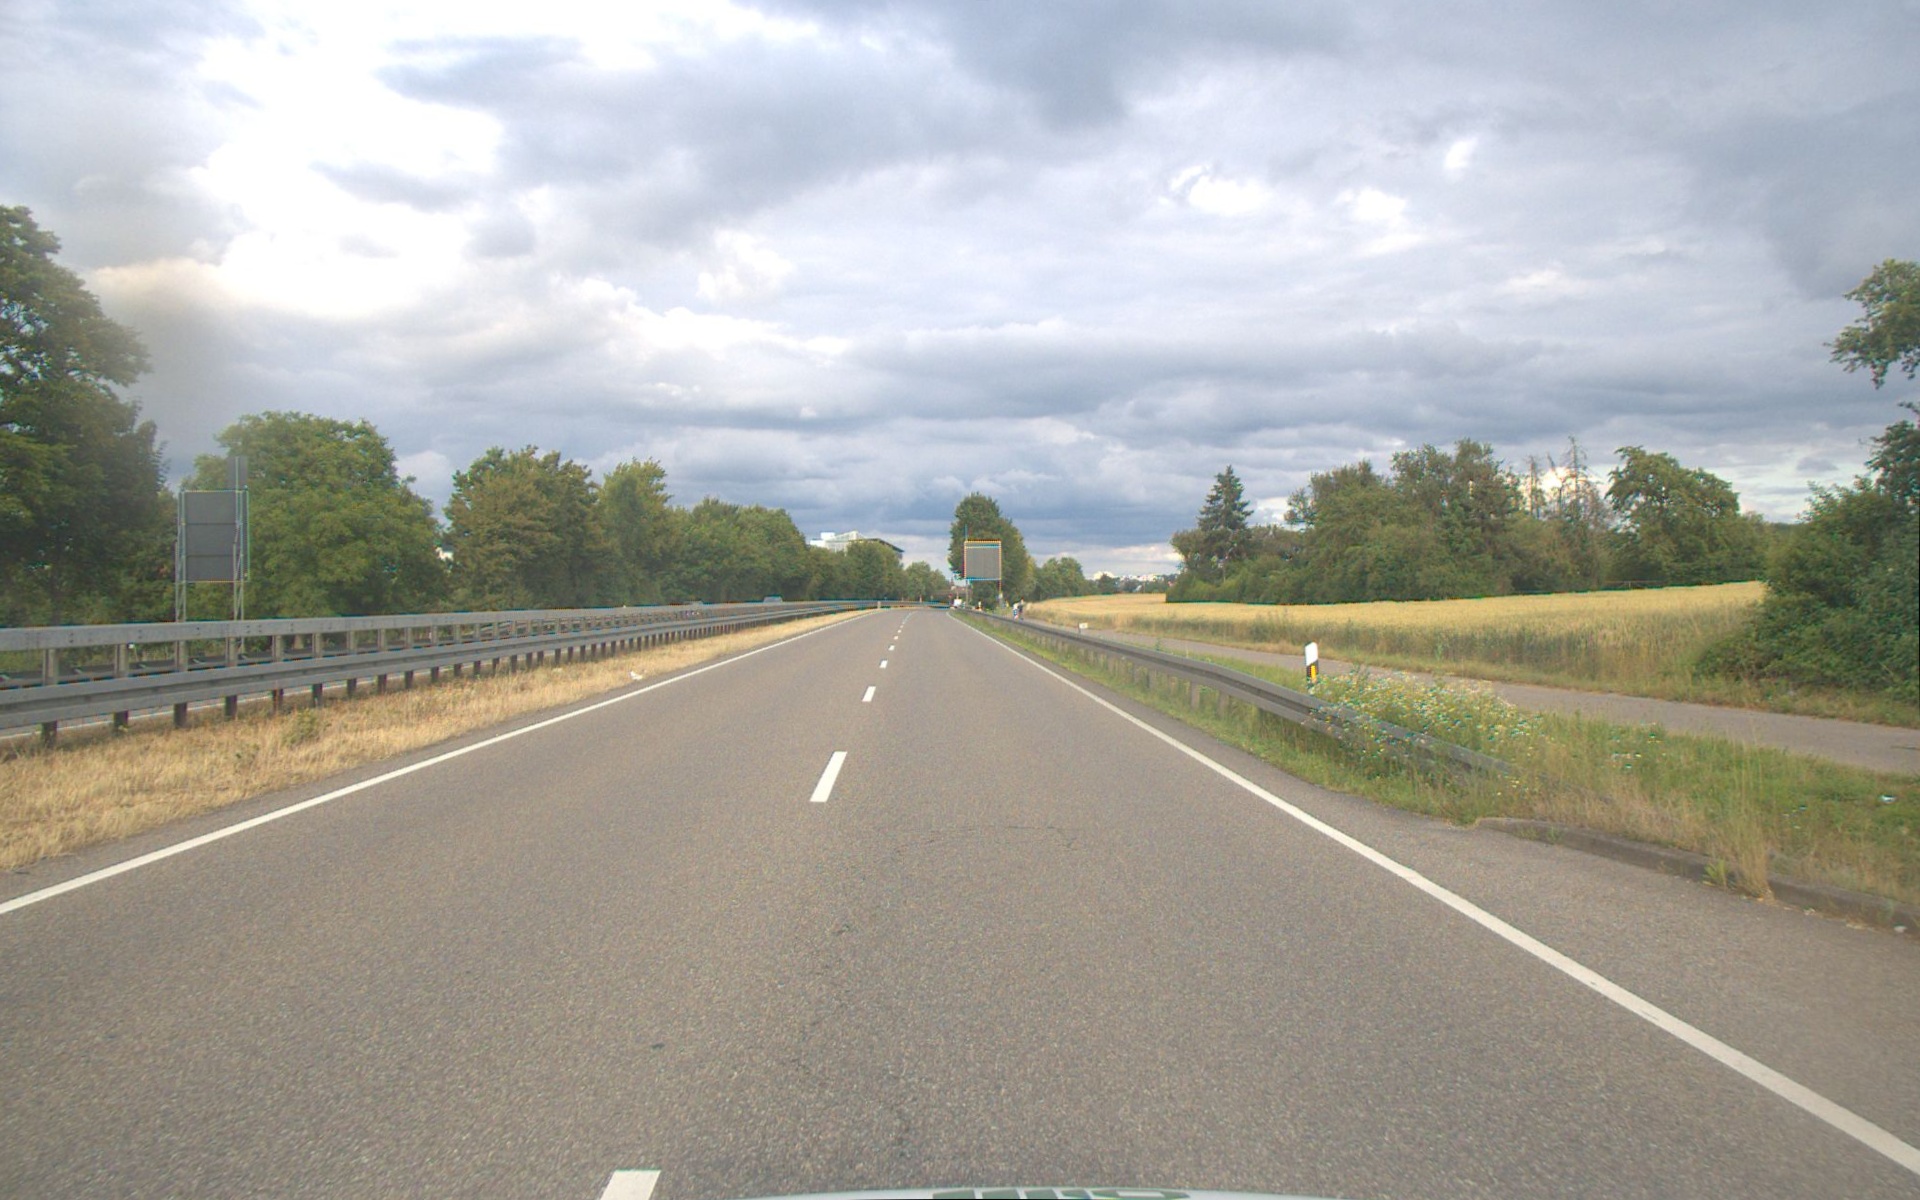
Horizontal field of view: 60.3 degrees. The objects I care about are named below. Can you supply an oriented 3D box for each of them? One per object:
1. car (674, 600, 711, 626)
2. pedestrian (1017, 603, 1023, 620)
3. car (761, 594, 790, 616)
[{"bbox_3d":[-18.041,0.843,111.816,1.761,1.654,4.483,-2,0,0],"label":"car"},{"bbox_3d":[6.344,1.220,175.835,0.589,1.695,0.542,1,-1,-4],"label":"pedestrian"},{"bbox_3d":[-14.411,0.405,129.400,1.761,1.654,4.483,-2,0,0],"label":"car"}]
